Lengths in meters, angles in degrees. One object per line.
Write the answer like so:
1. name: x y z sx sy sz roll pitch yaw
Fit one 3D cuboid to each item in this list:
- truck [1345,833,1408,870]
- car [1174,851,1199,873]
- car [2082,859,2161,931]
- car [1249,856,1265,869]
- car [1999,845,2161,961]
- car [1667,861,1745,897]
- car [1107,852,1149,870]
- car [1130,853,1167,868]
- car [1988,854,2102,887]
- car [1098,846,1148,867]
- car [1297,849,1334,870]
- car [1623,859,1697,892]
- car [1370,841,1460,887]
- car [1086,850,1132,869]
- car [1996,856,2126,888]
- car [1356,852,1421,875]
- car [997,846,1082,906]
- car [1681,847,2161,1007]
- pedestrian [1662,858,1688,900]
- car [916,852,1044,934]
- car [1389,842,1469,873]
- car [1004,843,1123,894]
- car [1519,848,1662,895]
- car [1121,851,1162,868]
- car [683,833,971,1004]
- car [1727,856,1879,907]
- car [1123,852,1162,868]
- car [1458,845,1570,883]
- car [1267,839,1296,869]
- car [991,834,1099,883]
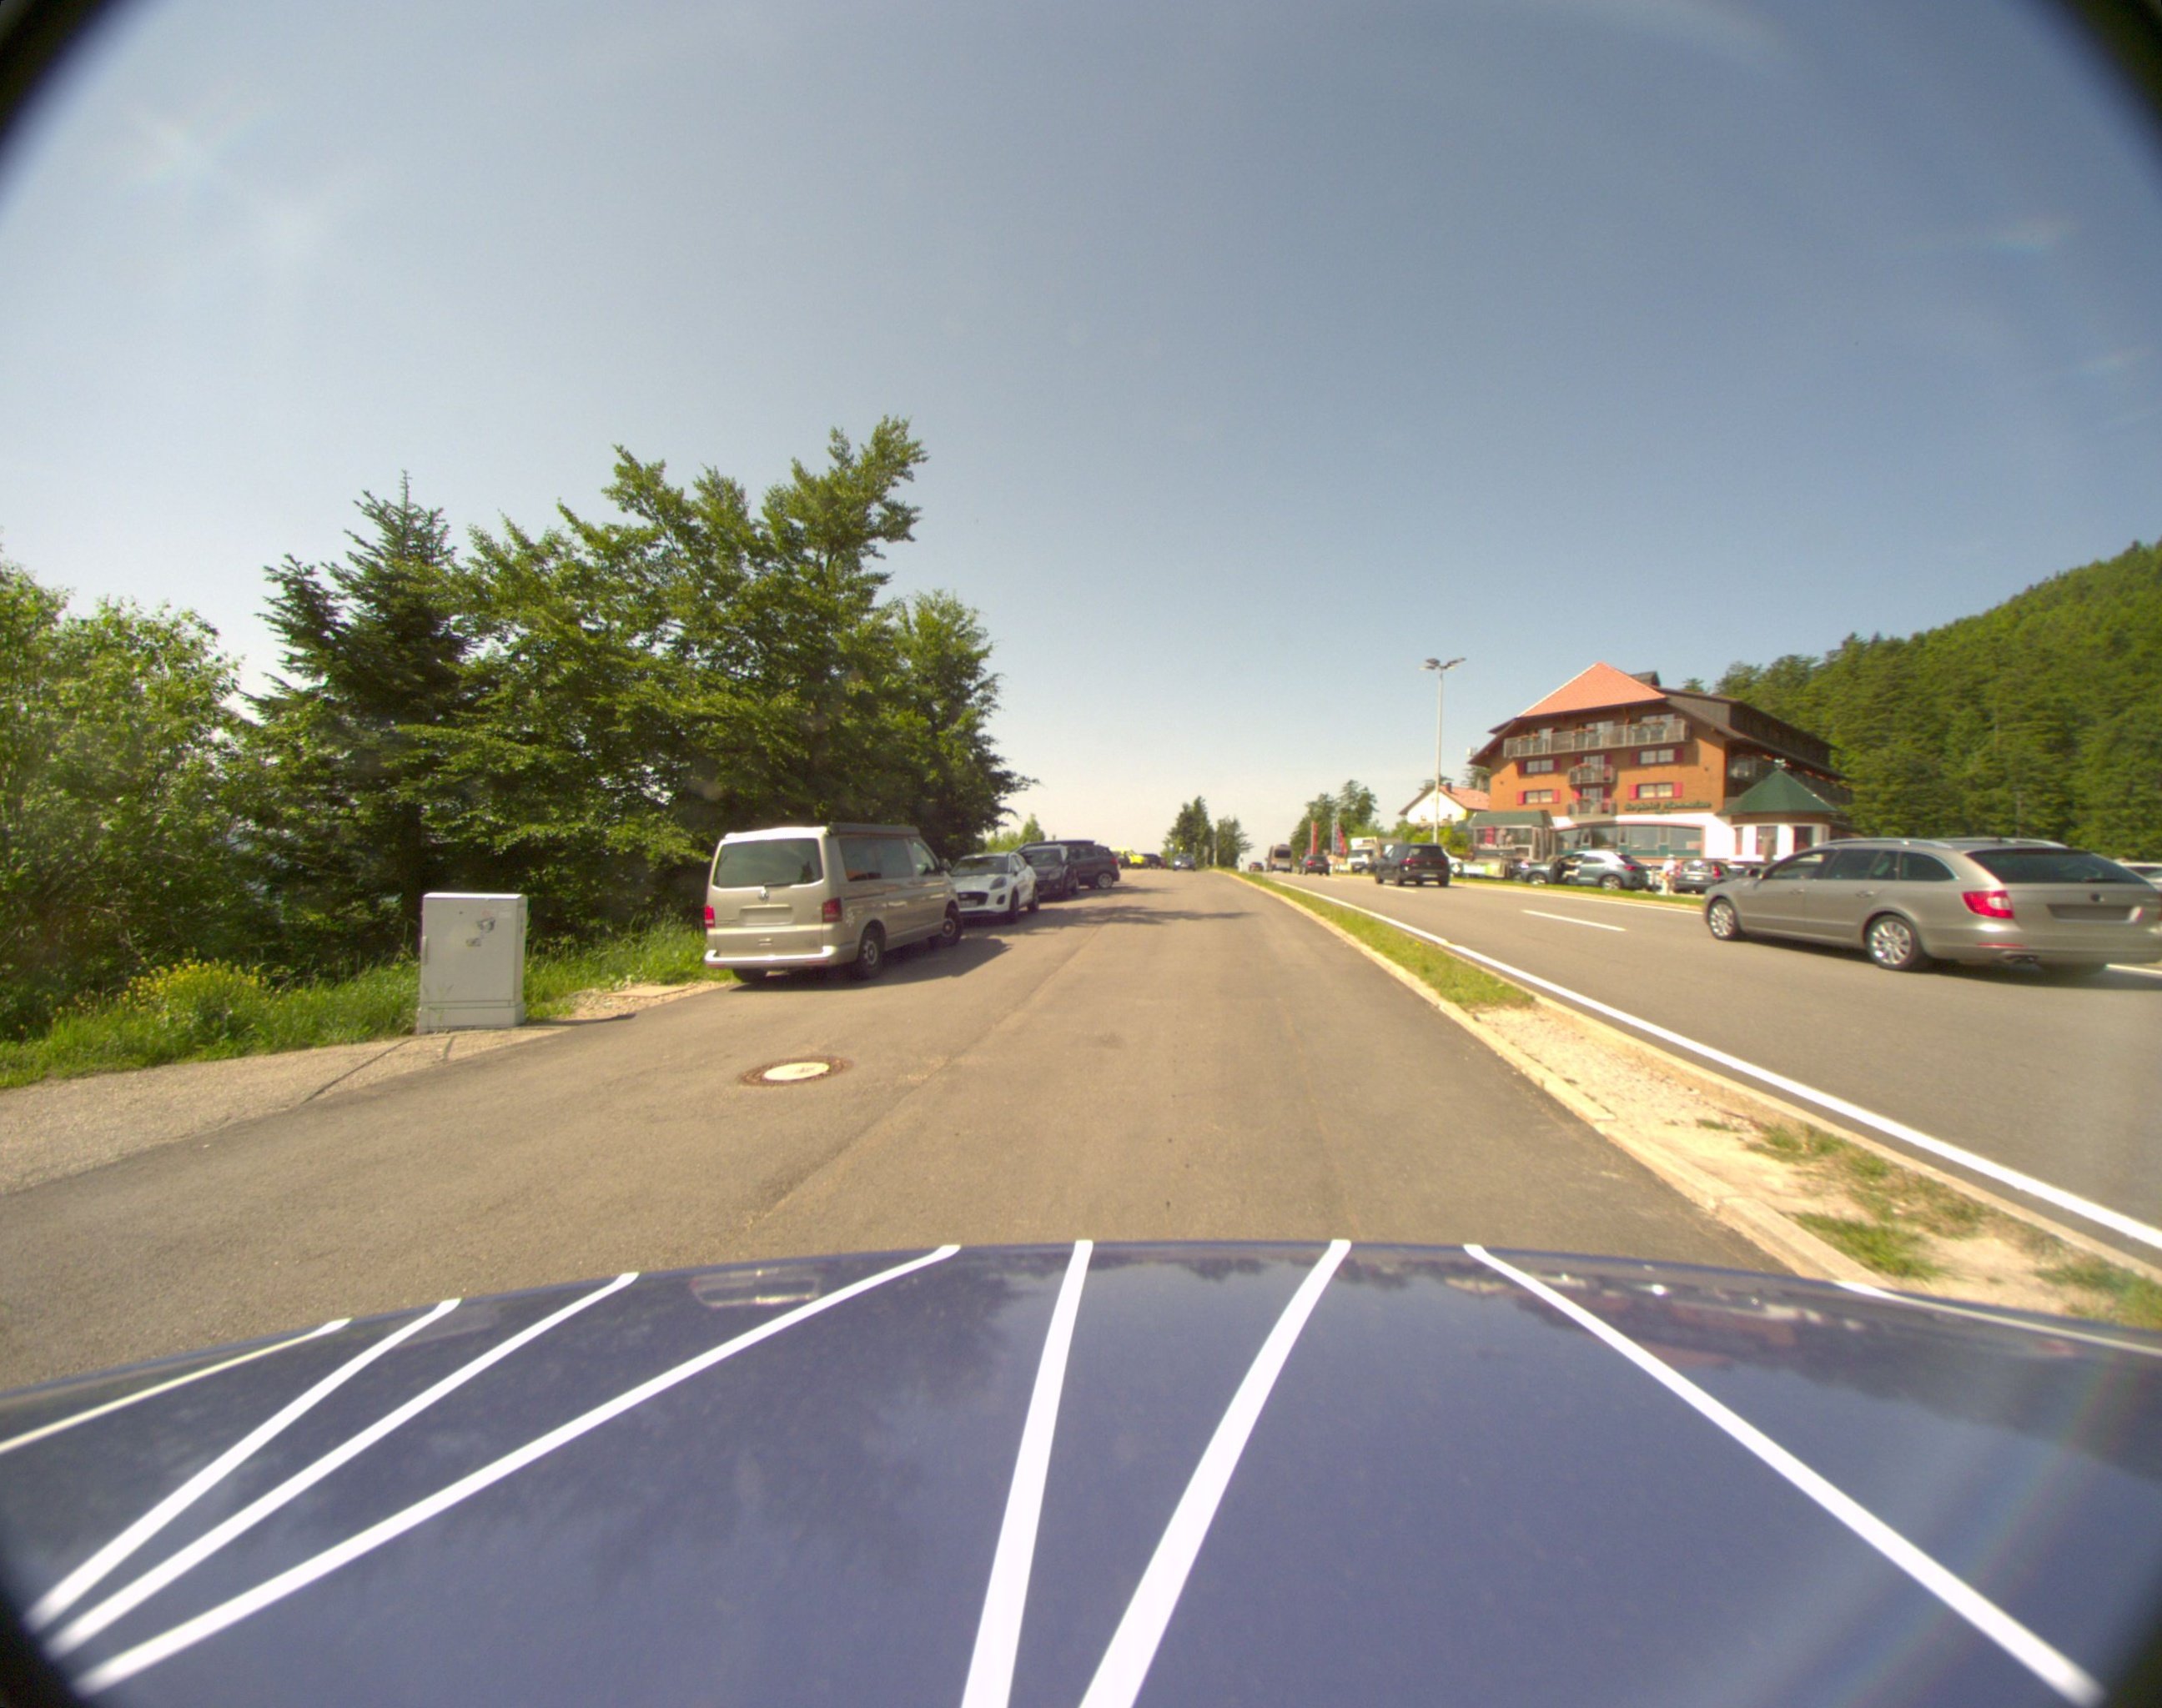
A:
1. truck: 31.846 -0.208 81.709 9.036 3.798 2.876 0 -1 -45
2. car: 8.373 0.626 60.484 1.874 1.605 3.915 1 1 8
3. car: 27.550 1.017 19.590 4.103 1.706 1.914 0 1 -39
4. car: 23.867 1.115 102.991 1.720 1.672 4.132 1 1 8
5. car: 16.709 0.740 10.825 1.726 1.646 4.538 0 1 -41
6. car: 28.756 1.107 34.905 4.103 1.504 1.819 0 1 -37
7. car: 4.641 0.655 74.553 3.907 1.605 1.878 1 1 10
8. car: 7.473 0.709 83.762 3.907 1.605 1.878 1 1 10
9. car: 56.889 0.941 44.948 1.924 1.706 4.082 0 1 -38
10. car: 3.973 0.202 71.386 4.453 1.914 1.878 1 1 10
11. car: 16.518 0.351 53.611 1.709 1.429 4.452 1 1 7
12. car: 28.678 1.028 37.613 4.103 1.504 1.819 0 1 -37
13. car: 12.843 0.341 29.577 1.997 1.638 4.569 1 1 8
14. car: 2.552 0.452 68.840 3.907 1.605 1.878 1 1 10
15. car: 60.456 1.078 47.025 1.924 1.706 4.831 0 1 -38
16. car: 22.854 0.702 56.532 1.828 1.518 4.082 0 2 -43
17. car: -1.178 0.595 23.377 1.874 1.609 4.002 -3 0 7
18. car: 9.957 0.659 9.372 1.883 1.466 4.716 -1 1 8
19. pedestrian: 23.258 0.957 29.765 0.744 1.615 0.684 2 2 37
20. car: -2.135 0.790 17.286 1.874 1.538 4.002 -3 0 7
21. car: 33.874 0.277 74.046 6.947 2.775 2.672 1 1 26
22. car: -0.685 0.496 27.756 4.001 1.609 1.874 -3 1 -12
23. car: 19.800 0.611 29.676 1.828 1.619 4.258 0 1 -40
24. car: 6.163 0.558 77.210 3.907 1.605 1.878 1 1 10
25. car: -3.294 0.742 11.048 1.860 1.924 4.612 -3 0 11
26. car: 23.346 0.840 24.793 1.719 1.422 4.003 1 1 12
27. car: 6.499 0.631 79.802 3.907 1.605 1.878 1 1 10
28. car: 20.759 0.436 36.523 1.828 1.619 4.258 0 1 -40
29. car: 19.593 -0.046 74.523 2.015 2.735 5.920 1 1 8
30. car: -1.637 0.183 33.809 4.461 1.914 1.874 -3 1 -12
